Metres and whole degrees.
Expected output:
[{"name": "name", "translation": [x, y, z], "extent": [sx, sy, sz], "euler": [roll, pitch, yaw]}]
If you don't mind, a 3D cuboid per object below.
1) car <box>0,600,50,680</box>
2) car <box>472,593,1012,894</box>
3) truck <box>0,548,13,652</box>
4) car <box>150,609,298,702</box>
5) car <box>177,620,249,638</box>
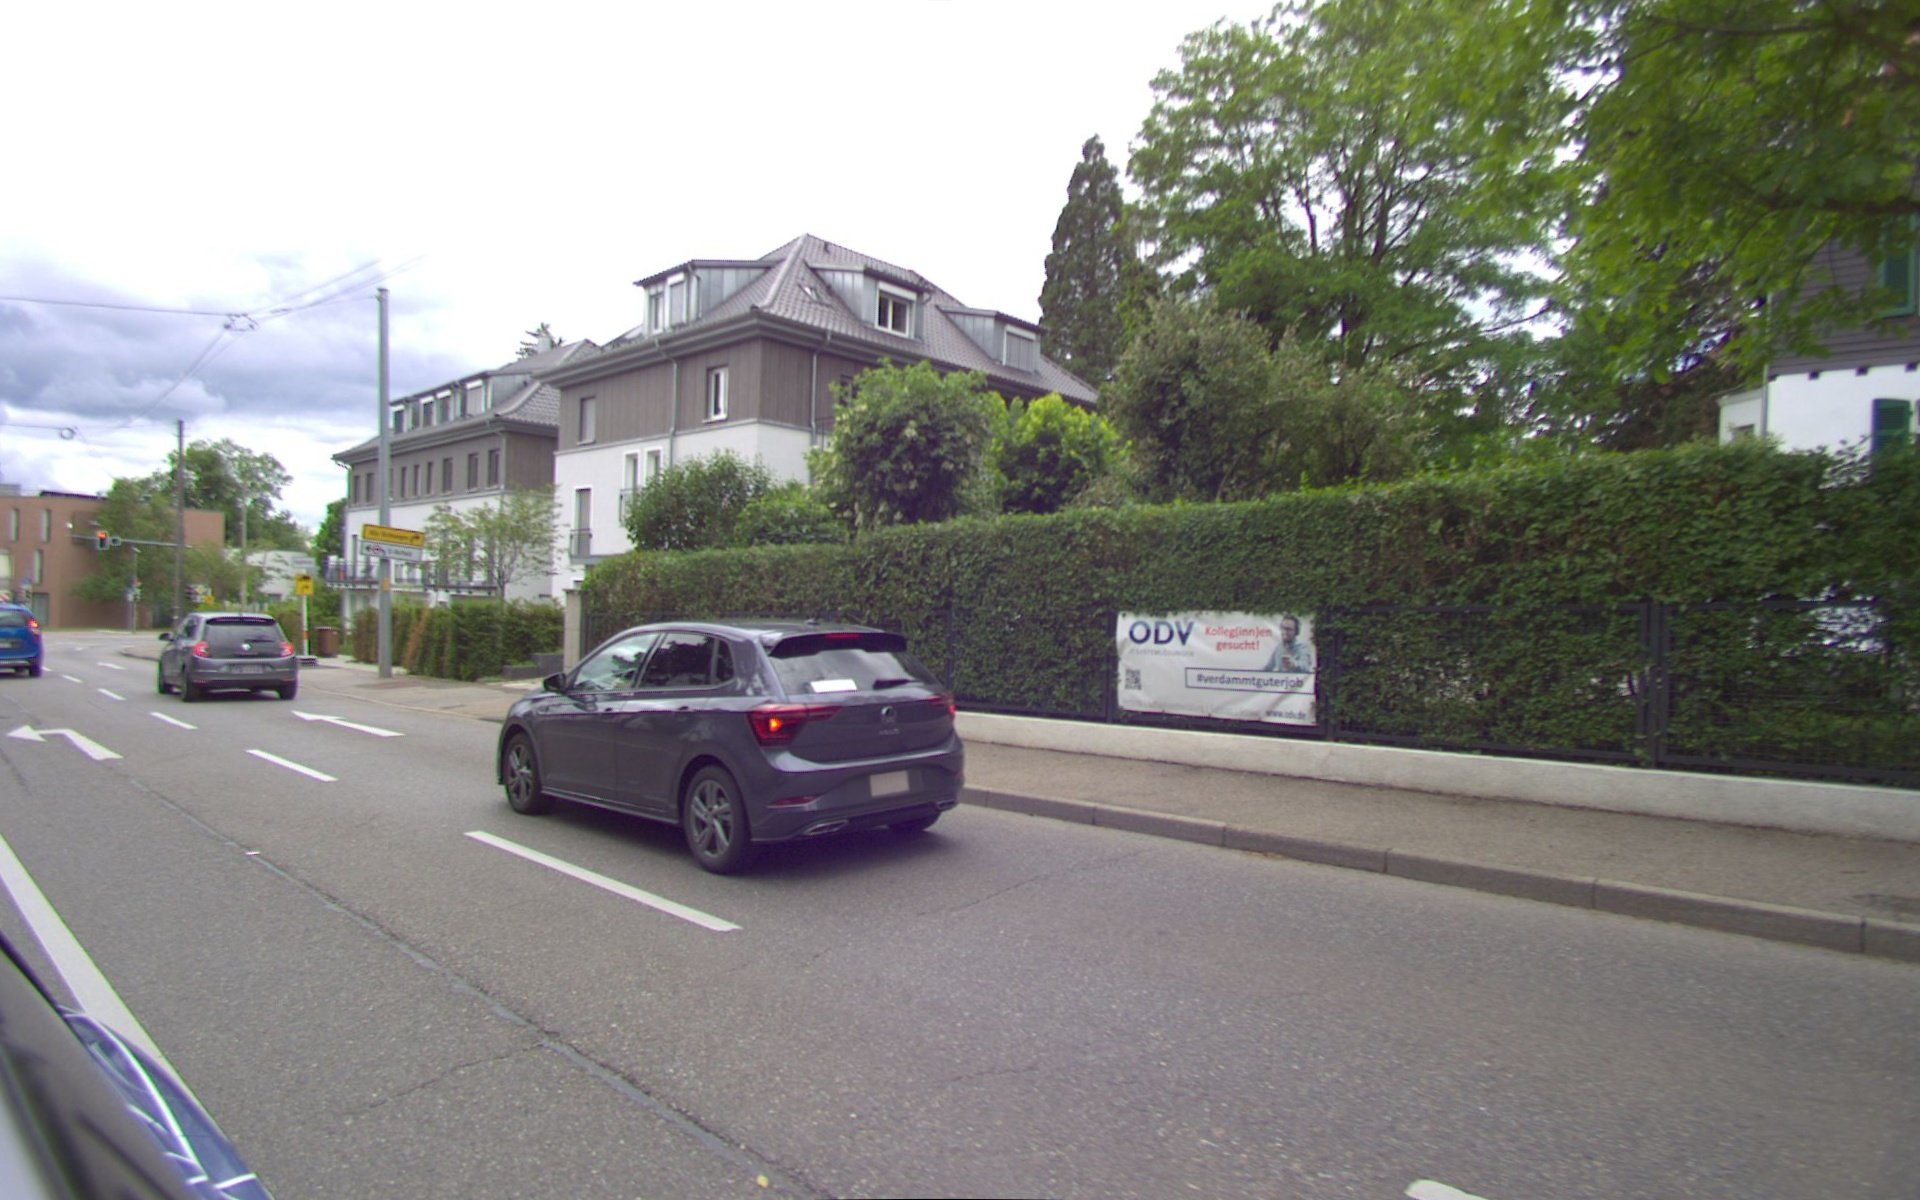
[{"name": "car", "translation": [-22.497, 0.901, 23.301], "extent": [4.377, 1.730, 1.786], "euler": [-2, -3, 42]}, {"name": "car", "translation": [-1.706, 0.767, 7.006], "extent": [4.017, 1.483, 1.662], "euler": [-2, -2, 43]}, {"name": "truck", "translation": [-35.508, -0.043, 35.440], "extent": [7.492, 3.487, 2.748], "euler": [0, -1, 42]}, {"name": "car", "translation": [-13.513, 0.971, 18.520], "extent": [1.665, 1.530, 3.538], "euler": [2, -3, -45]}, {"name": "car", "translation": [-57.207, 2.190, 77.582], "extent": [1.985, 1.253, 3.973], "euler": [1, -1, 20]}]
